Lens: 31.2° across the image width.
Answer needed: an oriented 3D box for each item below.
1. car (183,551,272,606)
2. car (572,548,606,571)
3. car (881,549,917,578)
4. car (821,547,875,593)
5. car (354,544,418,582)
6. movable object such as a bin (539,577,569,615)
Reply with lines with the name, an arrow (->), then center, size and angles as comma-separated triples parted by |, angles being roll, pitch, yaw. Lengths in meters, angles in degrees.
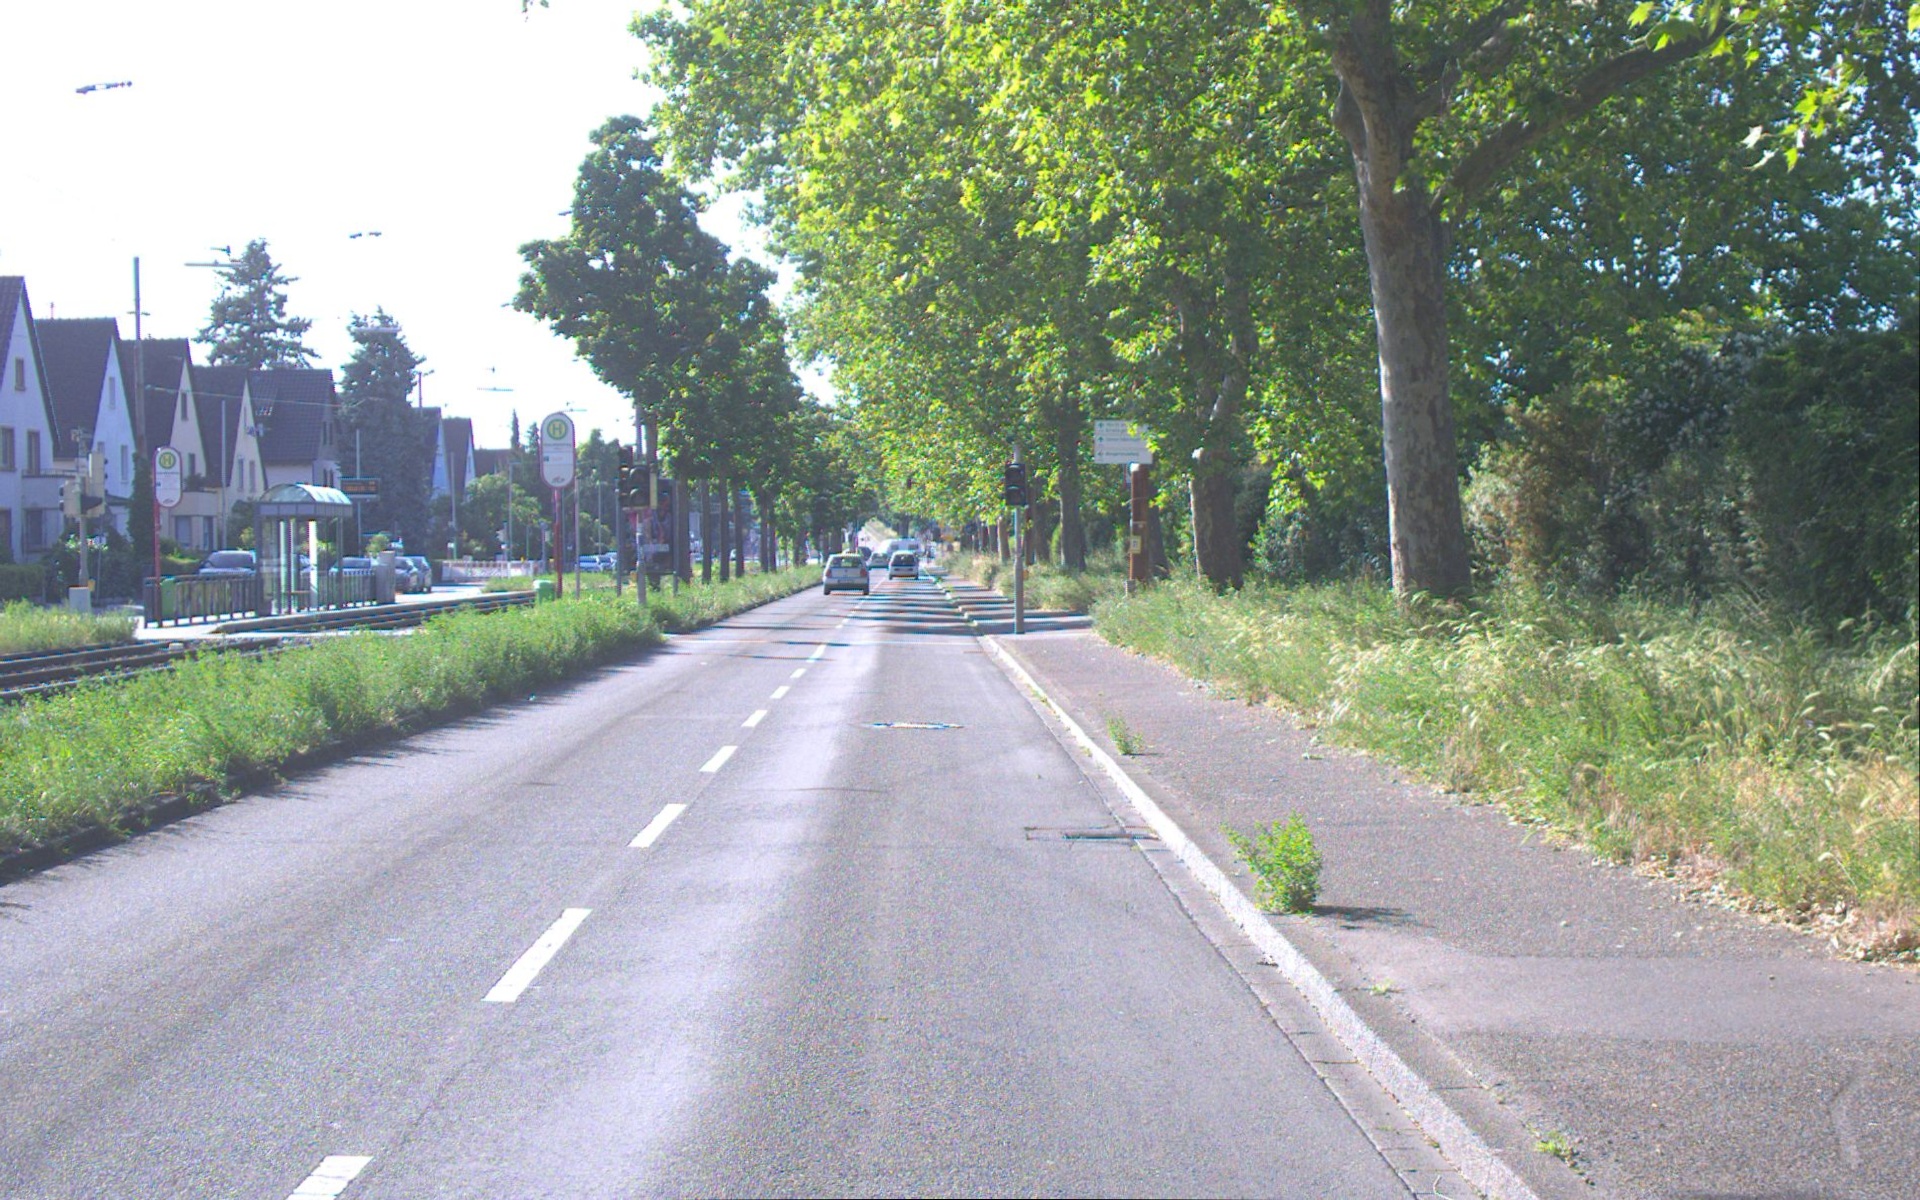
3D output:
car -> -23.618, -0.696, 111.027 | 1.993, 1.707, 4.391 | 1, 1, -1
car -> -25.002, -2.737, 231.826 | 1.860, 1.537, 4.228 | 1, 1, -1
car -> -3.418, -2.037, 192.249 | 1.993, 1.598, 4.474 | 1, 1, -1
car -> -3.962, -1.065, 121.968 | 1.860, 1.595, 4.228 | 1, 1, -1
car -> -23.923, -1.552, 143.424 | 1.993, 1.445, 4.128 | 3, 1, -1
movable object such as a bin -> -6.373, -0.061, 53.942 | 0.386, 0.580, 0.379 | 1, 0, 8
